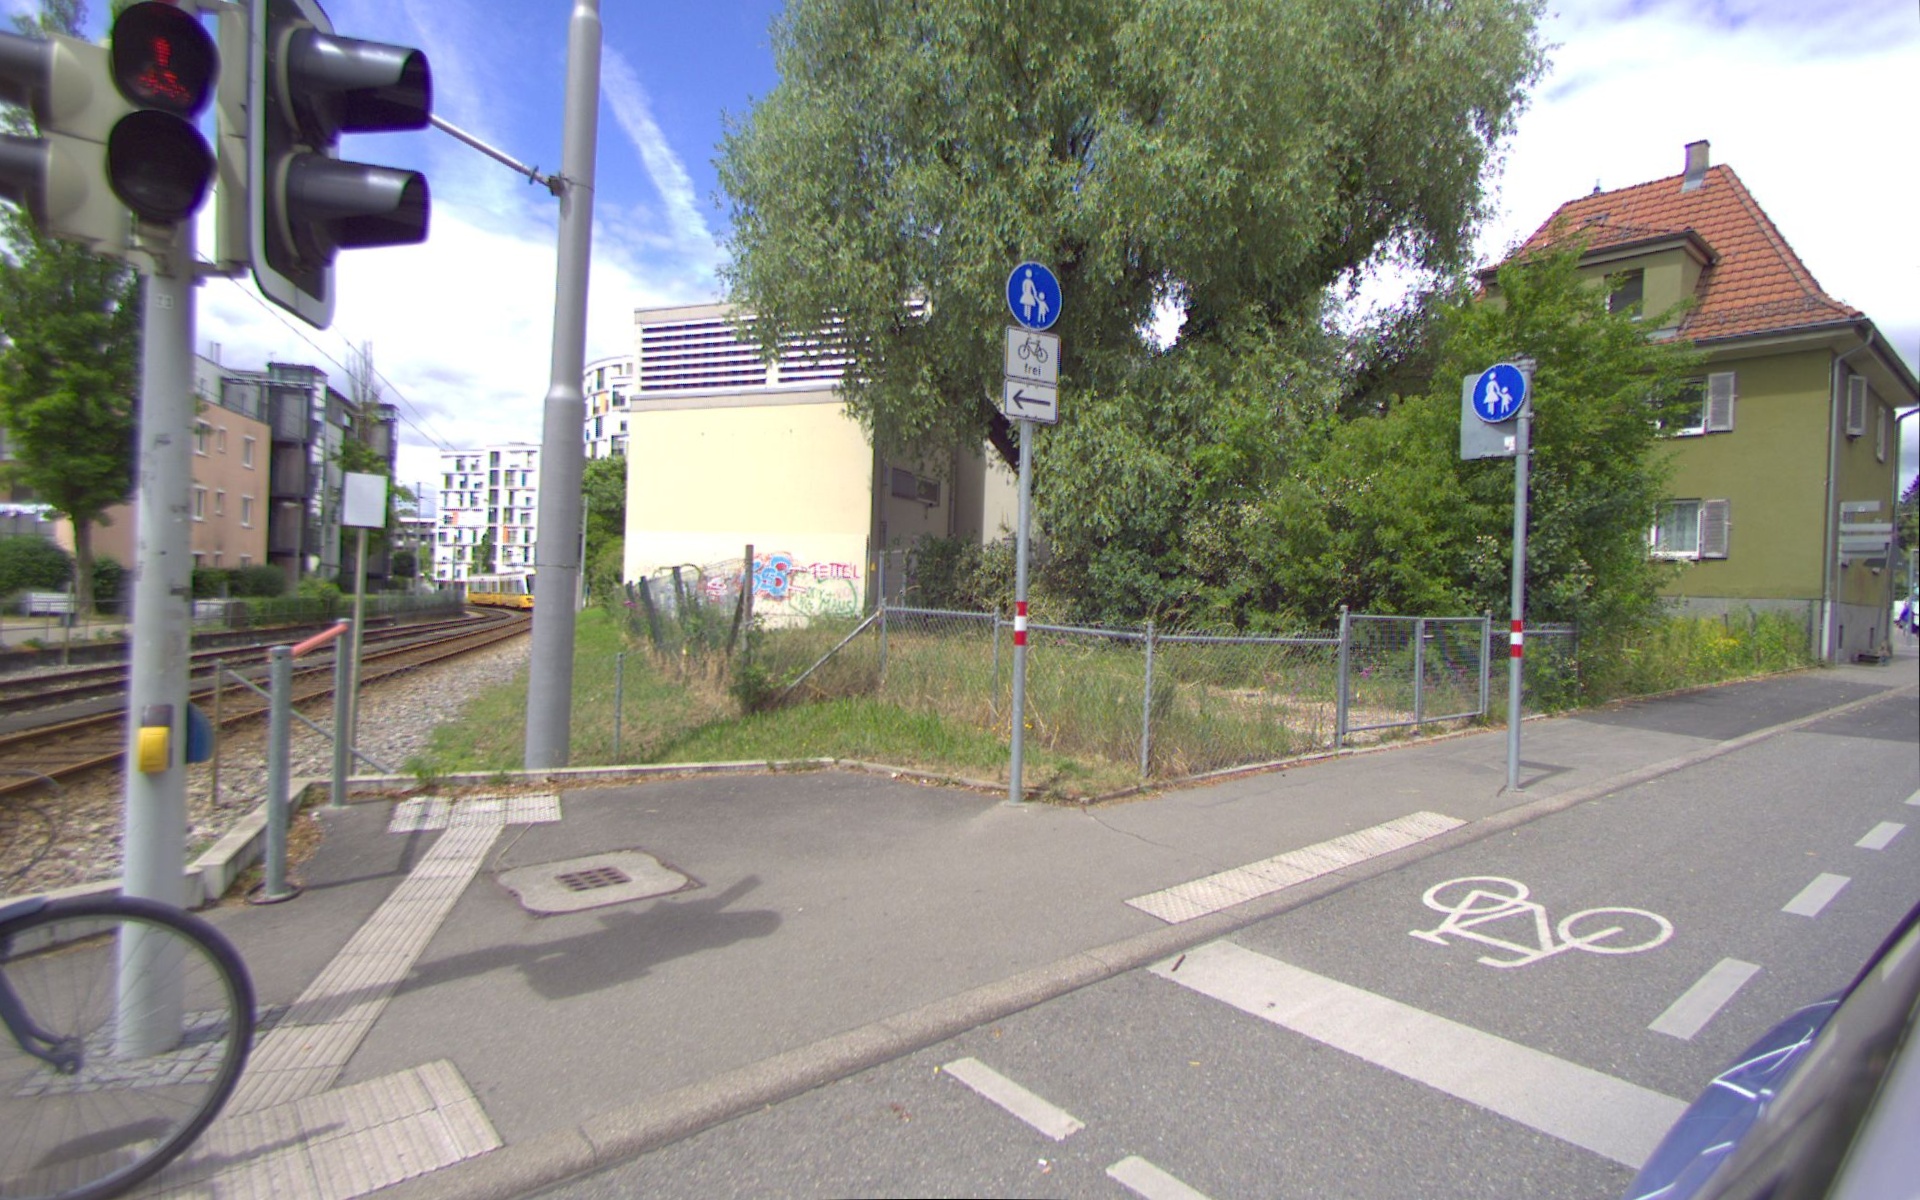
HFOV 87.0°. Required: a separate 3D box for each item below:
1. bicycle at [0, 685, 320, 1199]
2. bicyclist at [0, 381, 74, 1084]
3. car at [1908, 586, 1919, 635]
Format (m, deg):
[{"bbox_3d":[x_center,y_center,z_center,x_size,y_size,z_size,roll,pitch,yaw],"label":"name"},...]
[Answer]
[{"bbox_3d":[-2.374,0.794,1.886,1.881,1.053,0.934,-3,0,-39],"label":"bicycle"},{"bbox_3d":[-2.412,0.265,1.867,1.083,1.263,0.934,-3,0,-39],"label":"bicyclist"},{"bbox_3d":[41.304,0.532,40.566,1.958,2.019,4.382,1,2,-16],"label":"car"}]
